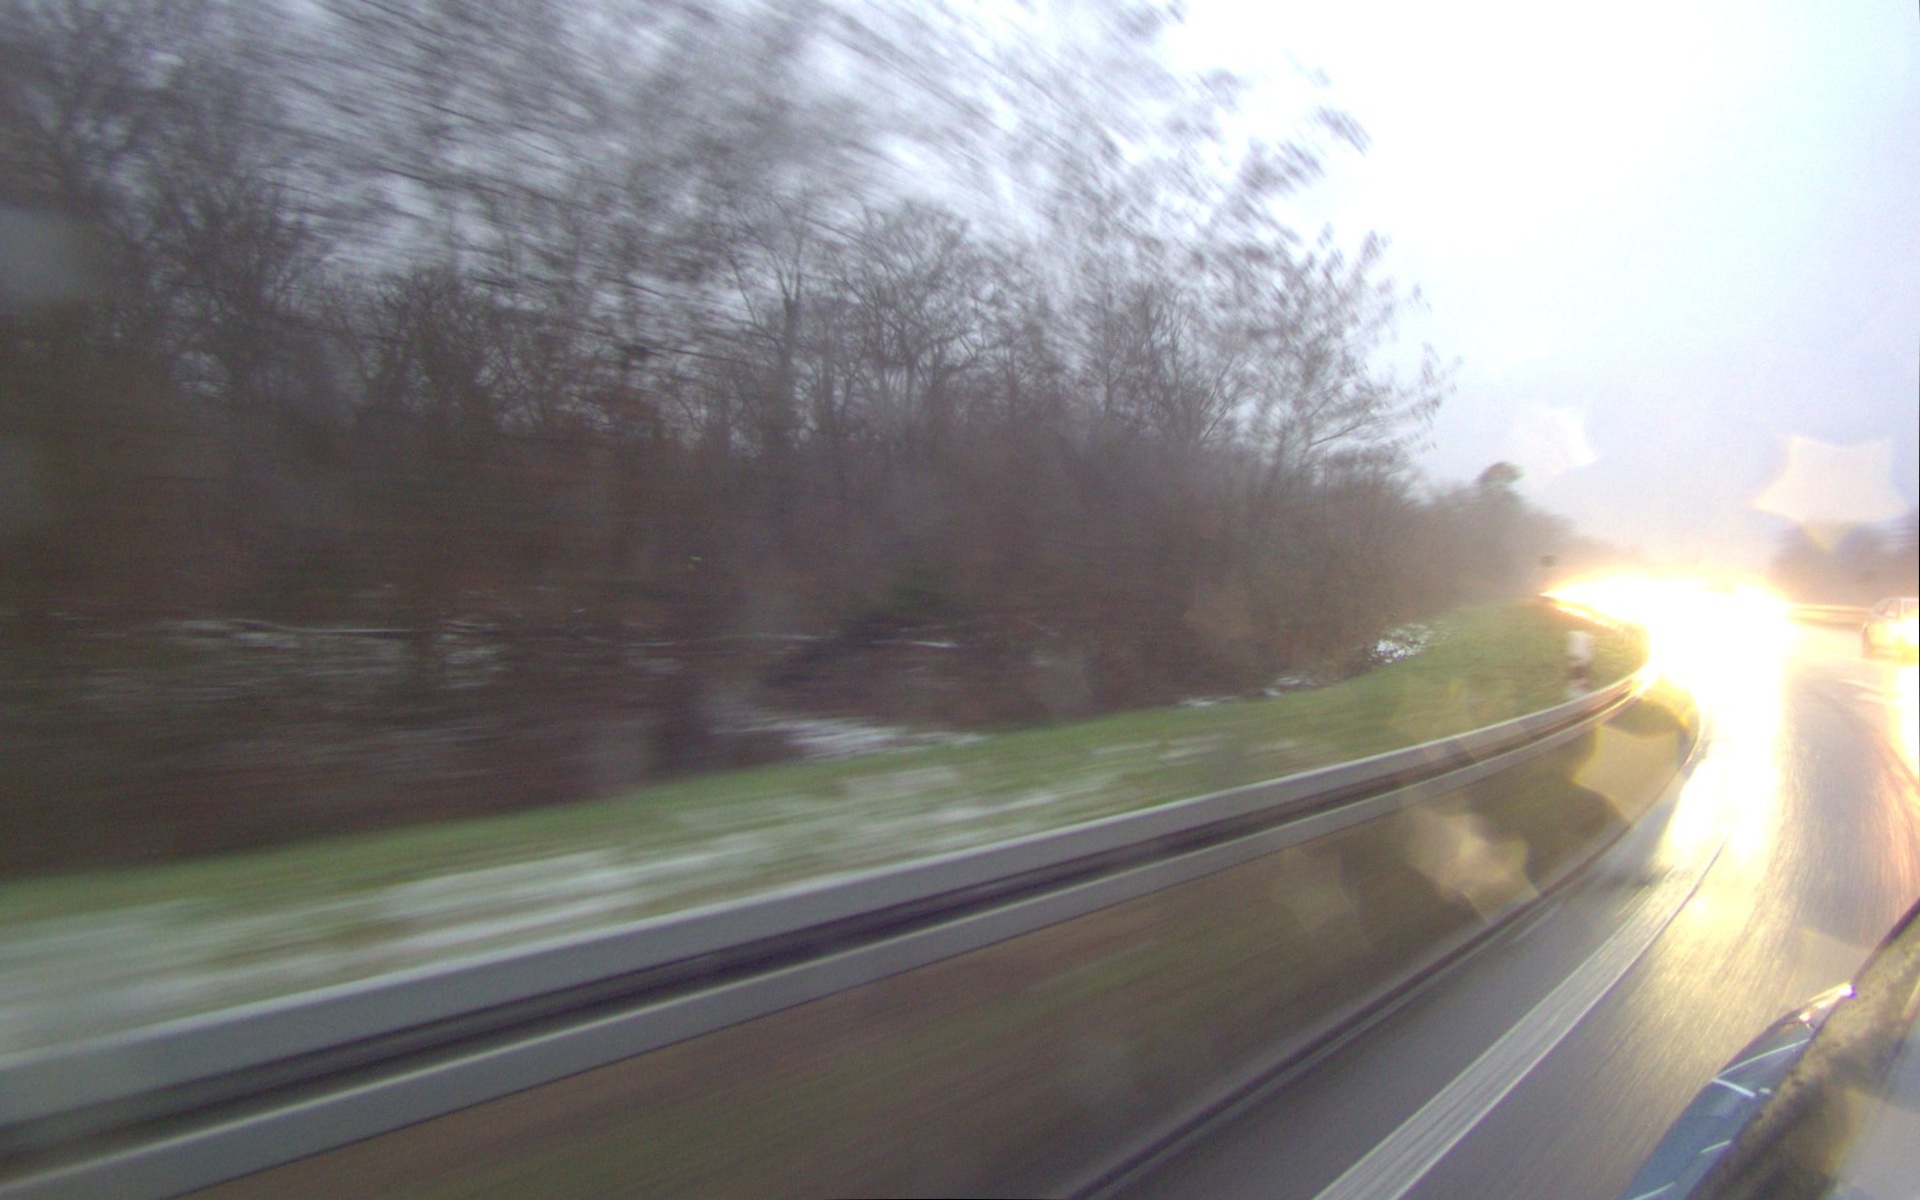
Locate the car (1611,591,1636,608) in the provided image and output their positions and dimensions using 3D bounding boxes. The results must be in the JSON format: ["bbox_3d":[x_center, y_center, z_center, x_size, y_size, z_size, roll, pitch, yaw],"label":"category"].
[{"bbox_3d":[68.637,-0.088,104.757,1.676,1.672,3.961,2,1,28],"label":"car"}]

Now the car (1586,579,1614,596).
[{"bbox_3d":[48.943,-0.944,77.423,1.470,1.220,3.316,3,2,28],"label":"car"}]

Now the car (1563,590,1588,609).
[{"bbox_3d":[60.924,-0.070,100.272,1.804,1.772,3.961,2,1,28],"label":"car"}]

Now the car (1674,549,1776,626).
[{"bbox_3d":[22.836,-0.381,30.346,1.986,2.038,3.917,5,3,32],"label":"car"}]

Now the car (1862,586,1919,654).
[{"bbox_3d":[23.185,0.464,23.955,1.639,1.530,3.840,2,2,25],"label":"car"}]
